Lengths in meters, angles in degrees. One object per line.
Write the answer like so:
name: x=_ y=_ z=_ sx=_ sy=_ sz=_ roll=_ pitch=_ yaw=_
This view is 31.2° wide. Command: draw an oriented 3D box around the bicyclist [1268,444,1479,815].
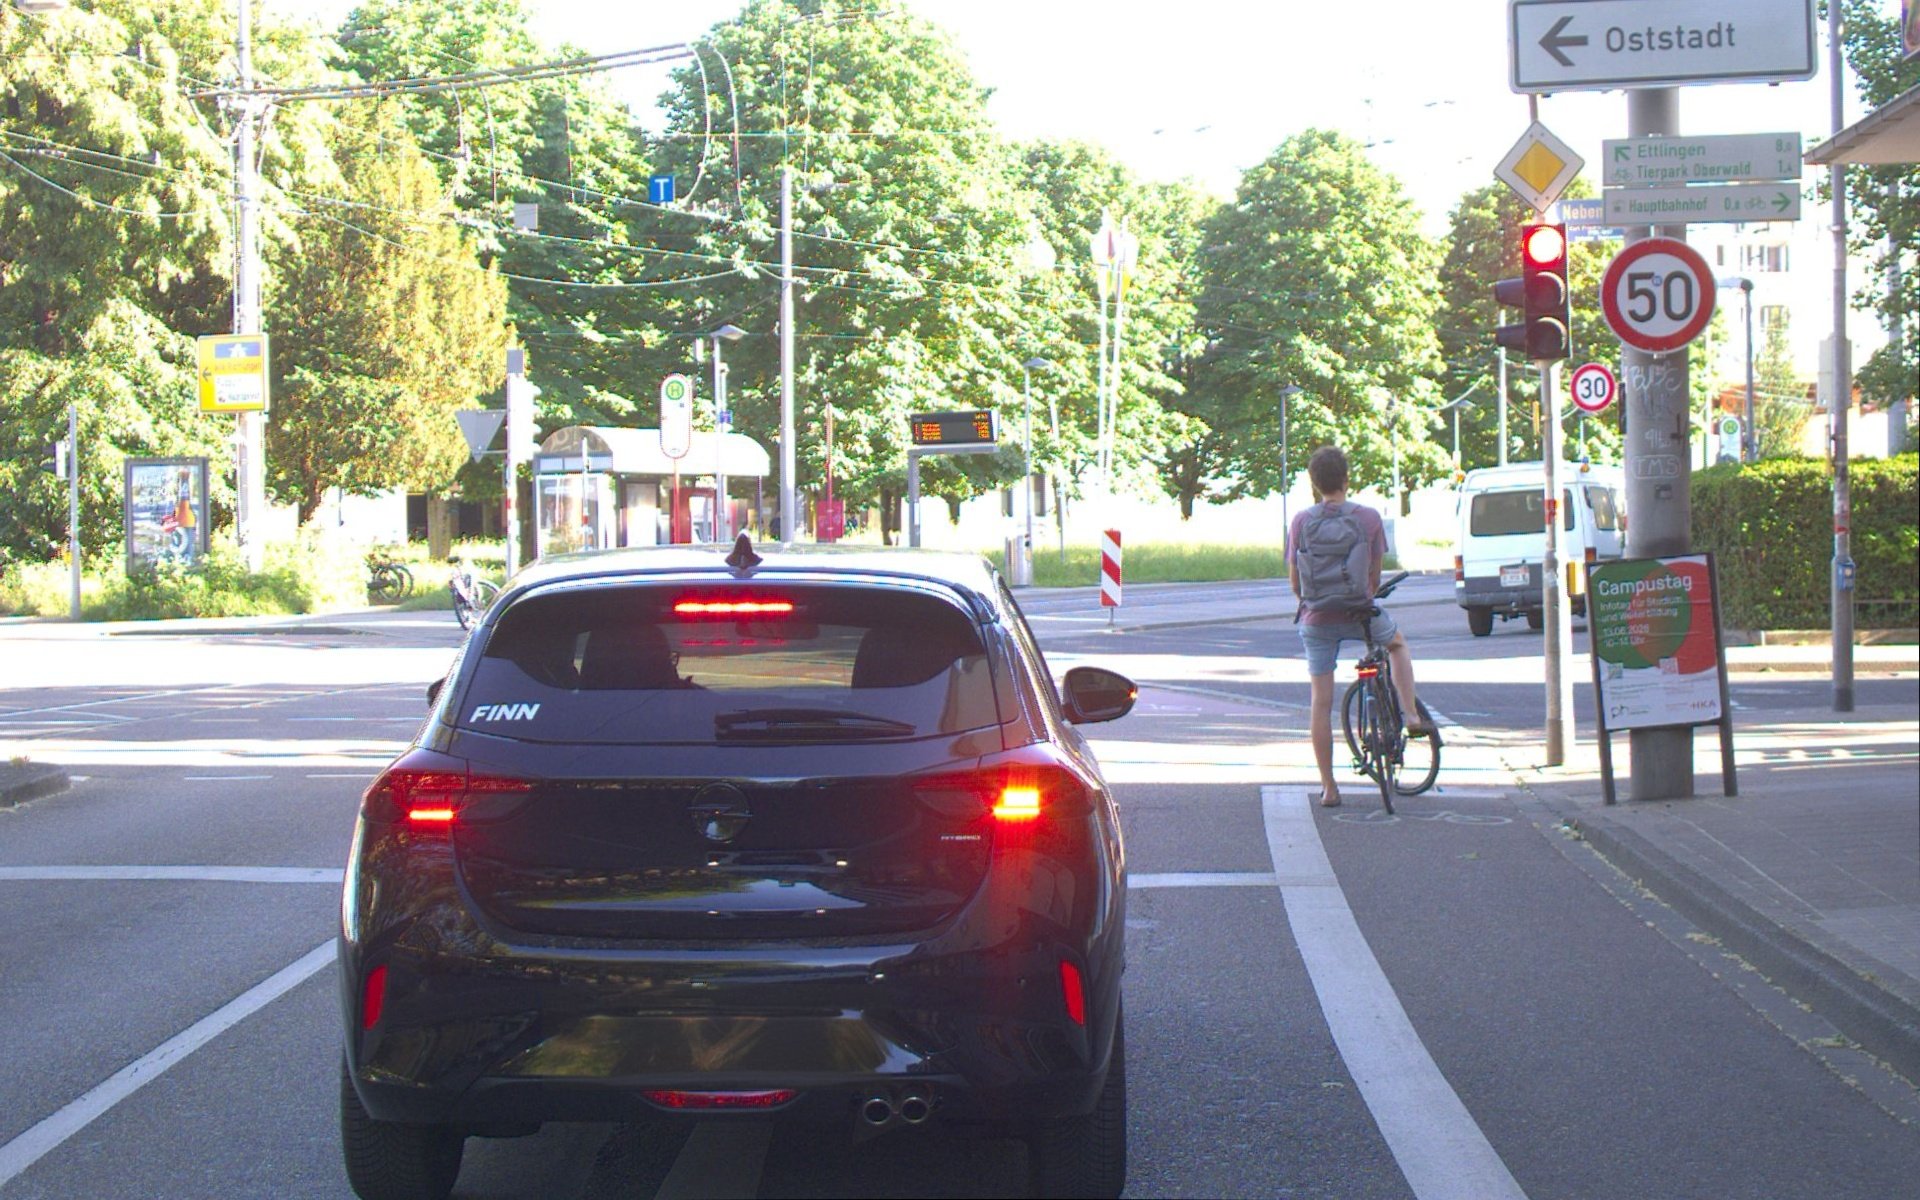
bicyclist: x=2.109 y=0.137 z=17.624 sx=0.941 sy=1.845 sz=0.864 roll=-1 pitch=1 yaw=-1

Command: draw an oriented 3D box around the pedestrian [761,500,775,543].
pedestrian: x=-6.354 y=-2.608 z=113.844 sx=0.412 sy=1.408 sz=0.436 roll=1 pitch=0 yaw=-1

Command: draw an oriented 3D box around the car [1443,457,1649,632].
car: x=7.979 y=-0.773 z=46.458 sx=2.065 sy=2.241 sz=4.883 roll=0 pitch=1 yaw=18

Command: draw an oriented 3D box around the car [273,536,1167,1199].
car: x=-0.481 y=0.561 z=8.761 sx=1.727 sy=1.424 sz=4.187 roll=0 pitch=1 yaw=0

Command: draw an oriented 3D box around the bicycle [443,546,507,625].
bicycle: x=-6.546 y=-0.207 z=46.479 sx=0.605 sy=1.028 sz=1.982 roll=0 pitch=1 yaw=-1

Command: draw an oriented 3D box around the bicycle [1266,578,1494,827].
bicycle: x=2.124 y=0.489 z=17.689 sx=0.860 sy=1.149 sz=2.172 roll=-1 pitch=1 yaw=-1
